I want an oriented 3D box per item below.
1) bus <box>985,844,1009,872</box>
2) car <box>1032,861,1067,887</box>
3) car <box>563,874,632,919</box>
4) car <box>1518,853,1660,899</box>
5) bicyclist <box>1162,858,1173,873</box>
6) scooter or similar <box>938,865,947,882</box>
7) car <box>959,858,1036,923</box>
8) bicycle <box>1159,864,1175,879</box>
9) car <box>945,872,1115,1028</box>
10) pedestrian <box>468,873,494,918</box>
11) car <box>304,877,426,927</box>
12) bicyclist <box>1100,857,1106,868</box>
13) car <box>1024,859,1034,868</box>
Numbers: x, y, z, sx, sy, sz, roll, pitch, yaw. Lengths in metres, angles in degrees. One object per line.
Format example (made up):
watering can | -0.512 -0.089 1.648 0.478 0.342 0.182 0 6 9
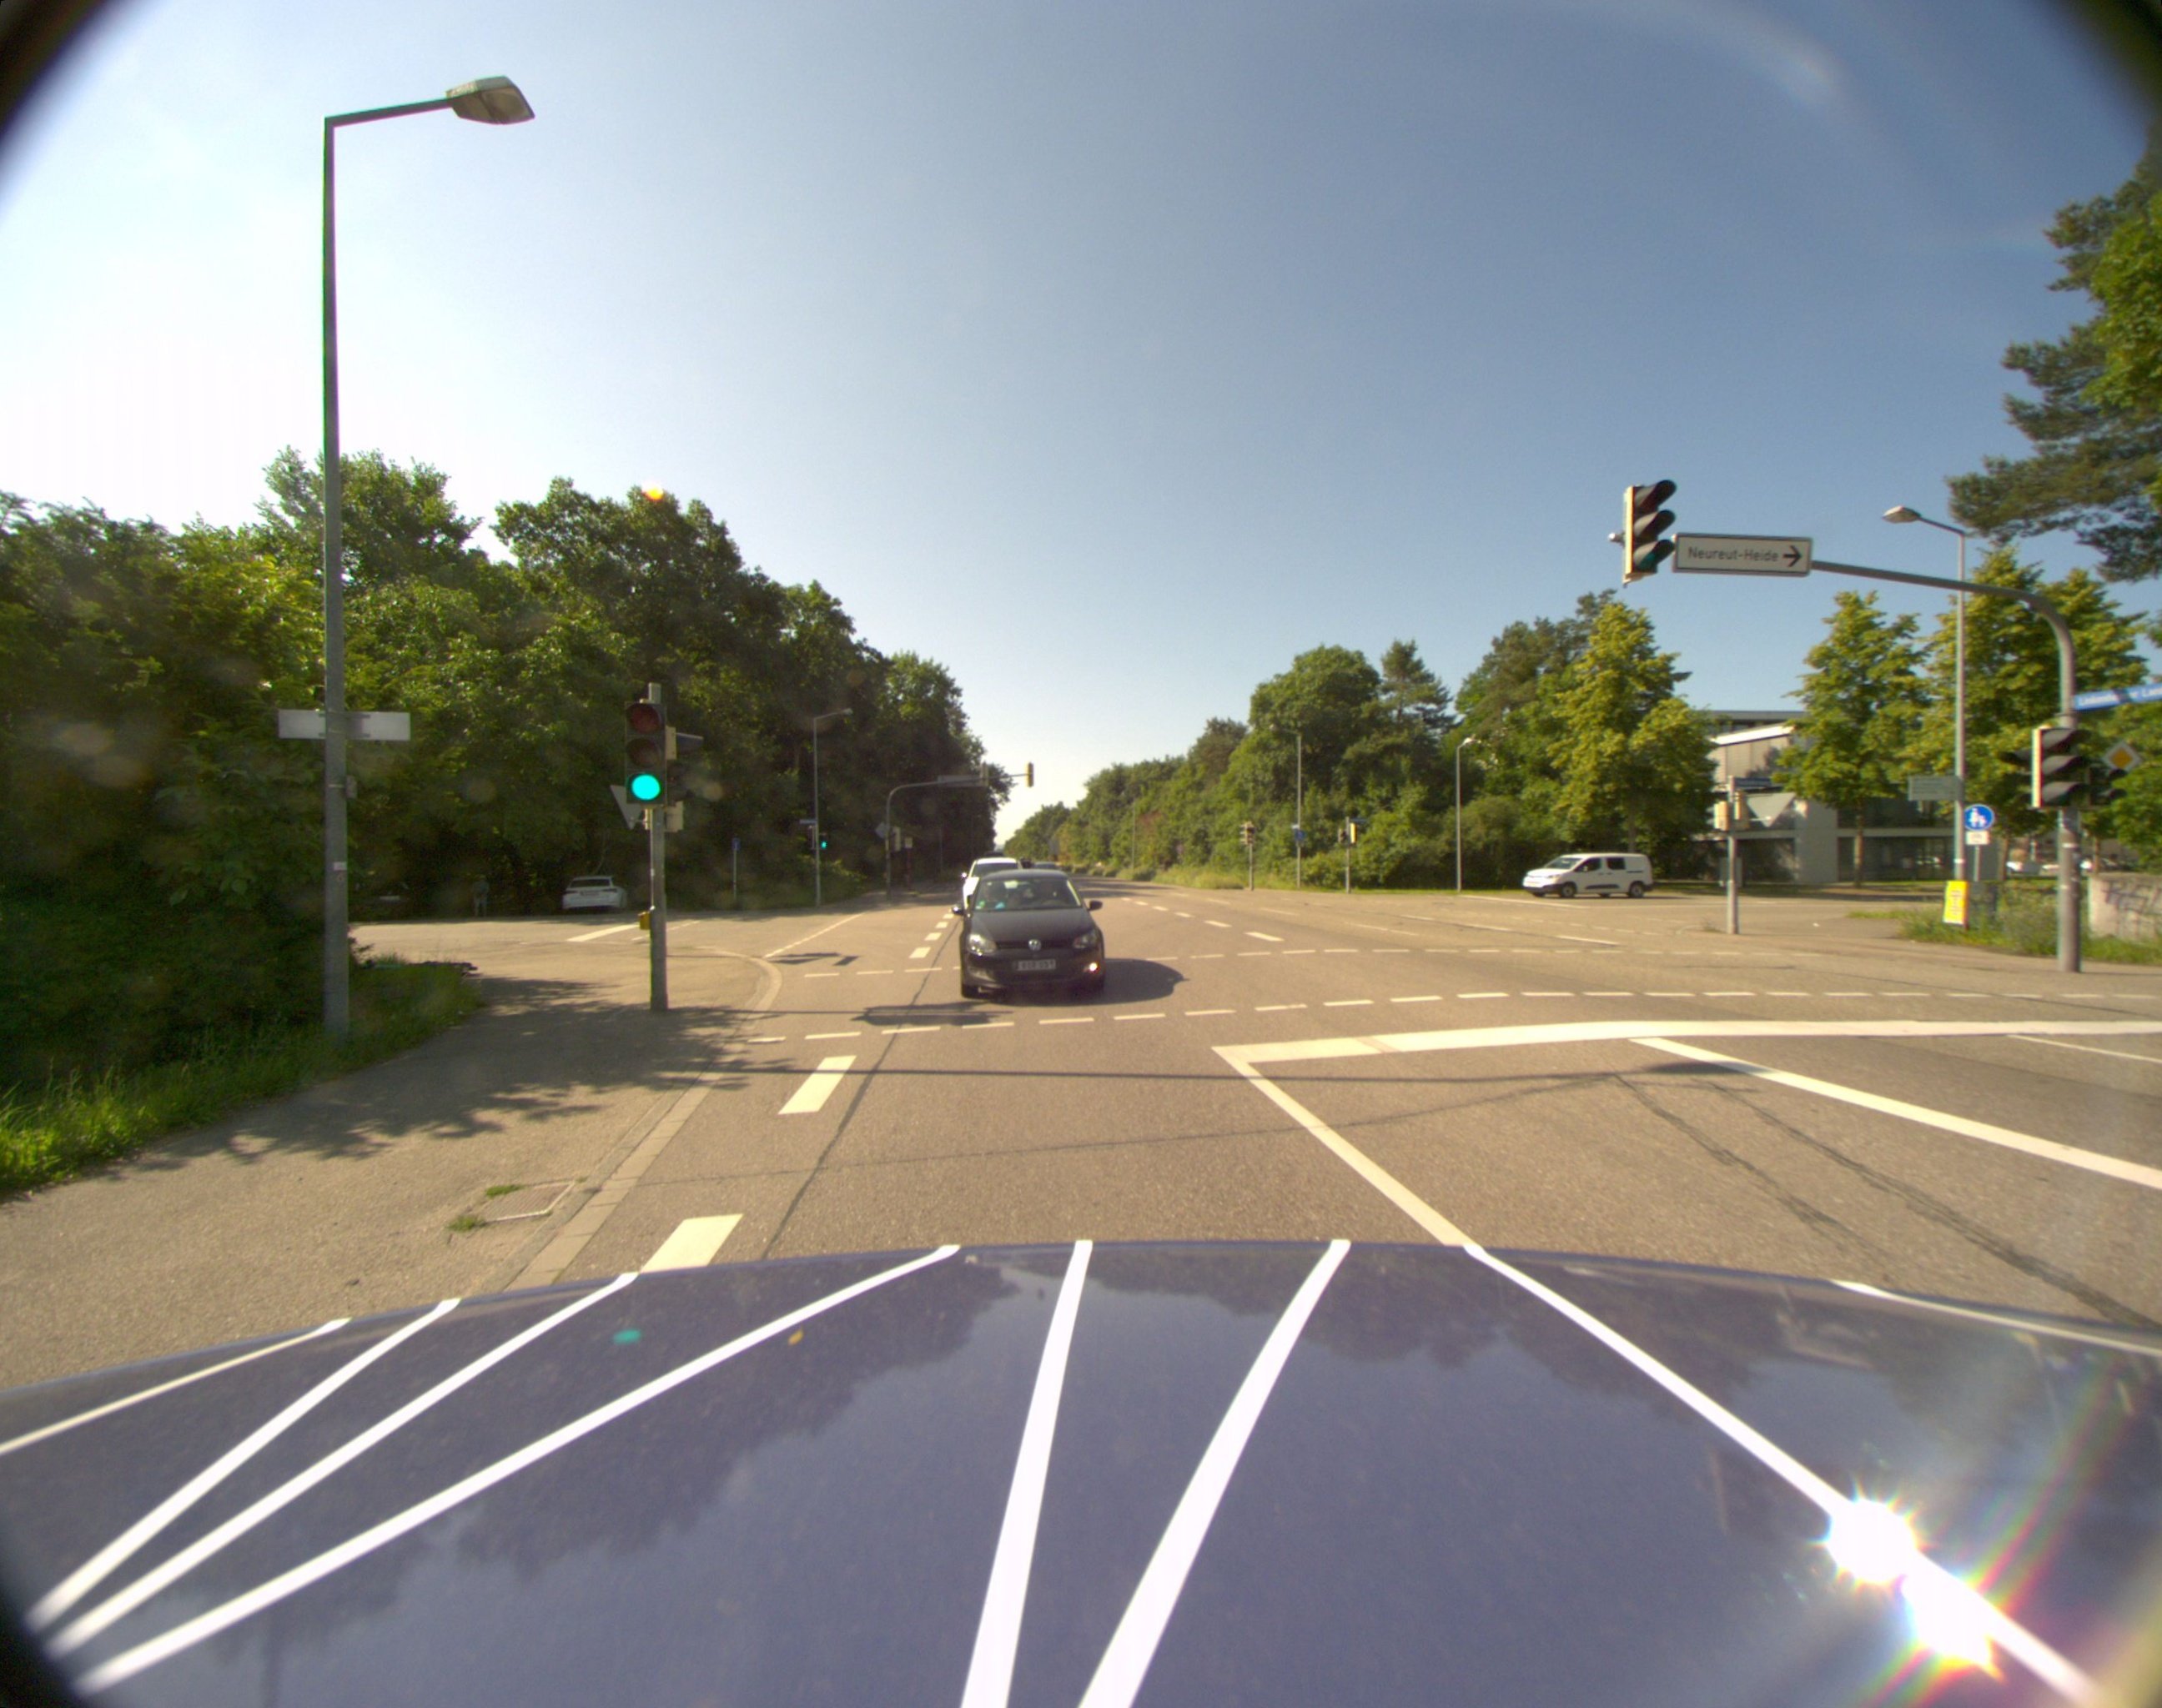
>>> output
bus | -10.906 0.451 98.671 2.784 3.437 7.788 -3 1 -7
car | -1.961 1.159 45.997 1.789 1.416 4.420 -3 0 -6
car | -17.806 1.504 28.145 1.631 1.455 4.605 -1 0 -26
car | 20.456 0.863 30.701 4.660 1.767 1.851 0 0 -6
bicyclist | 7.256 0.963 63.930 0.723 1.303 0.883 -1 0 -9
scooter or similar | -10.736 1.493 58.774 0.401 1.299 1.328 -1 0 -21
car | -2.339 0.977 22.313 1.813 1.639 4.307 -2 0 -1
bicycle | 7.221 1.452 63.943 0.735 1.156 2.371 -1 0 -8
car | -0.672 1.013 9.743 1.651 1.422 4.053 -3 0 -5
pedestrian | -22.007 1.516 27.892 0.414 1.620 0.611 0 0 25
car | -23.342 1.519 24.756 3.781 1.455 1.632 -1 0 26
bicyclist | 2.980 1.114 103.646 0.612 1.458 0.944 -3 1 -5
car | -9.672 1.764 141.366 1.796 1.687 4.389 0 0 -6
